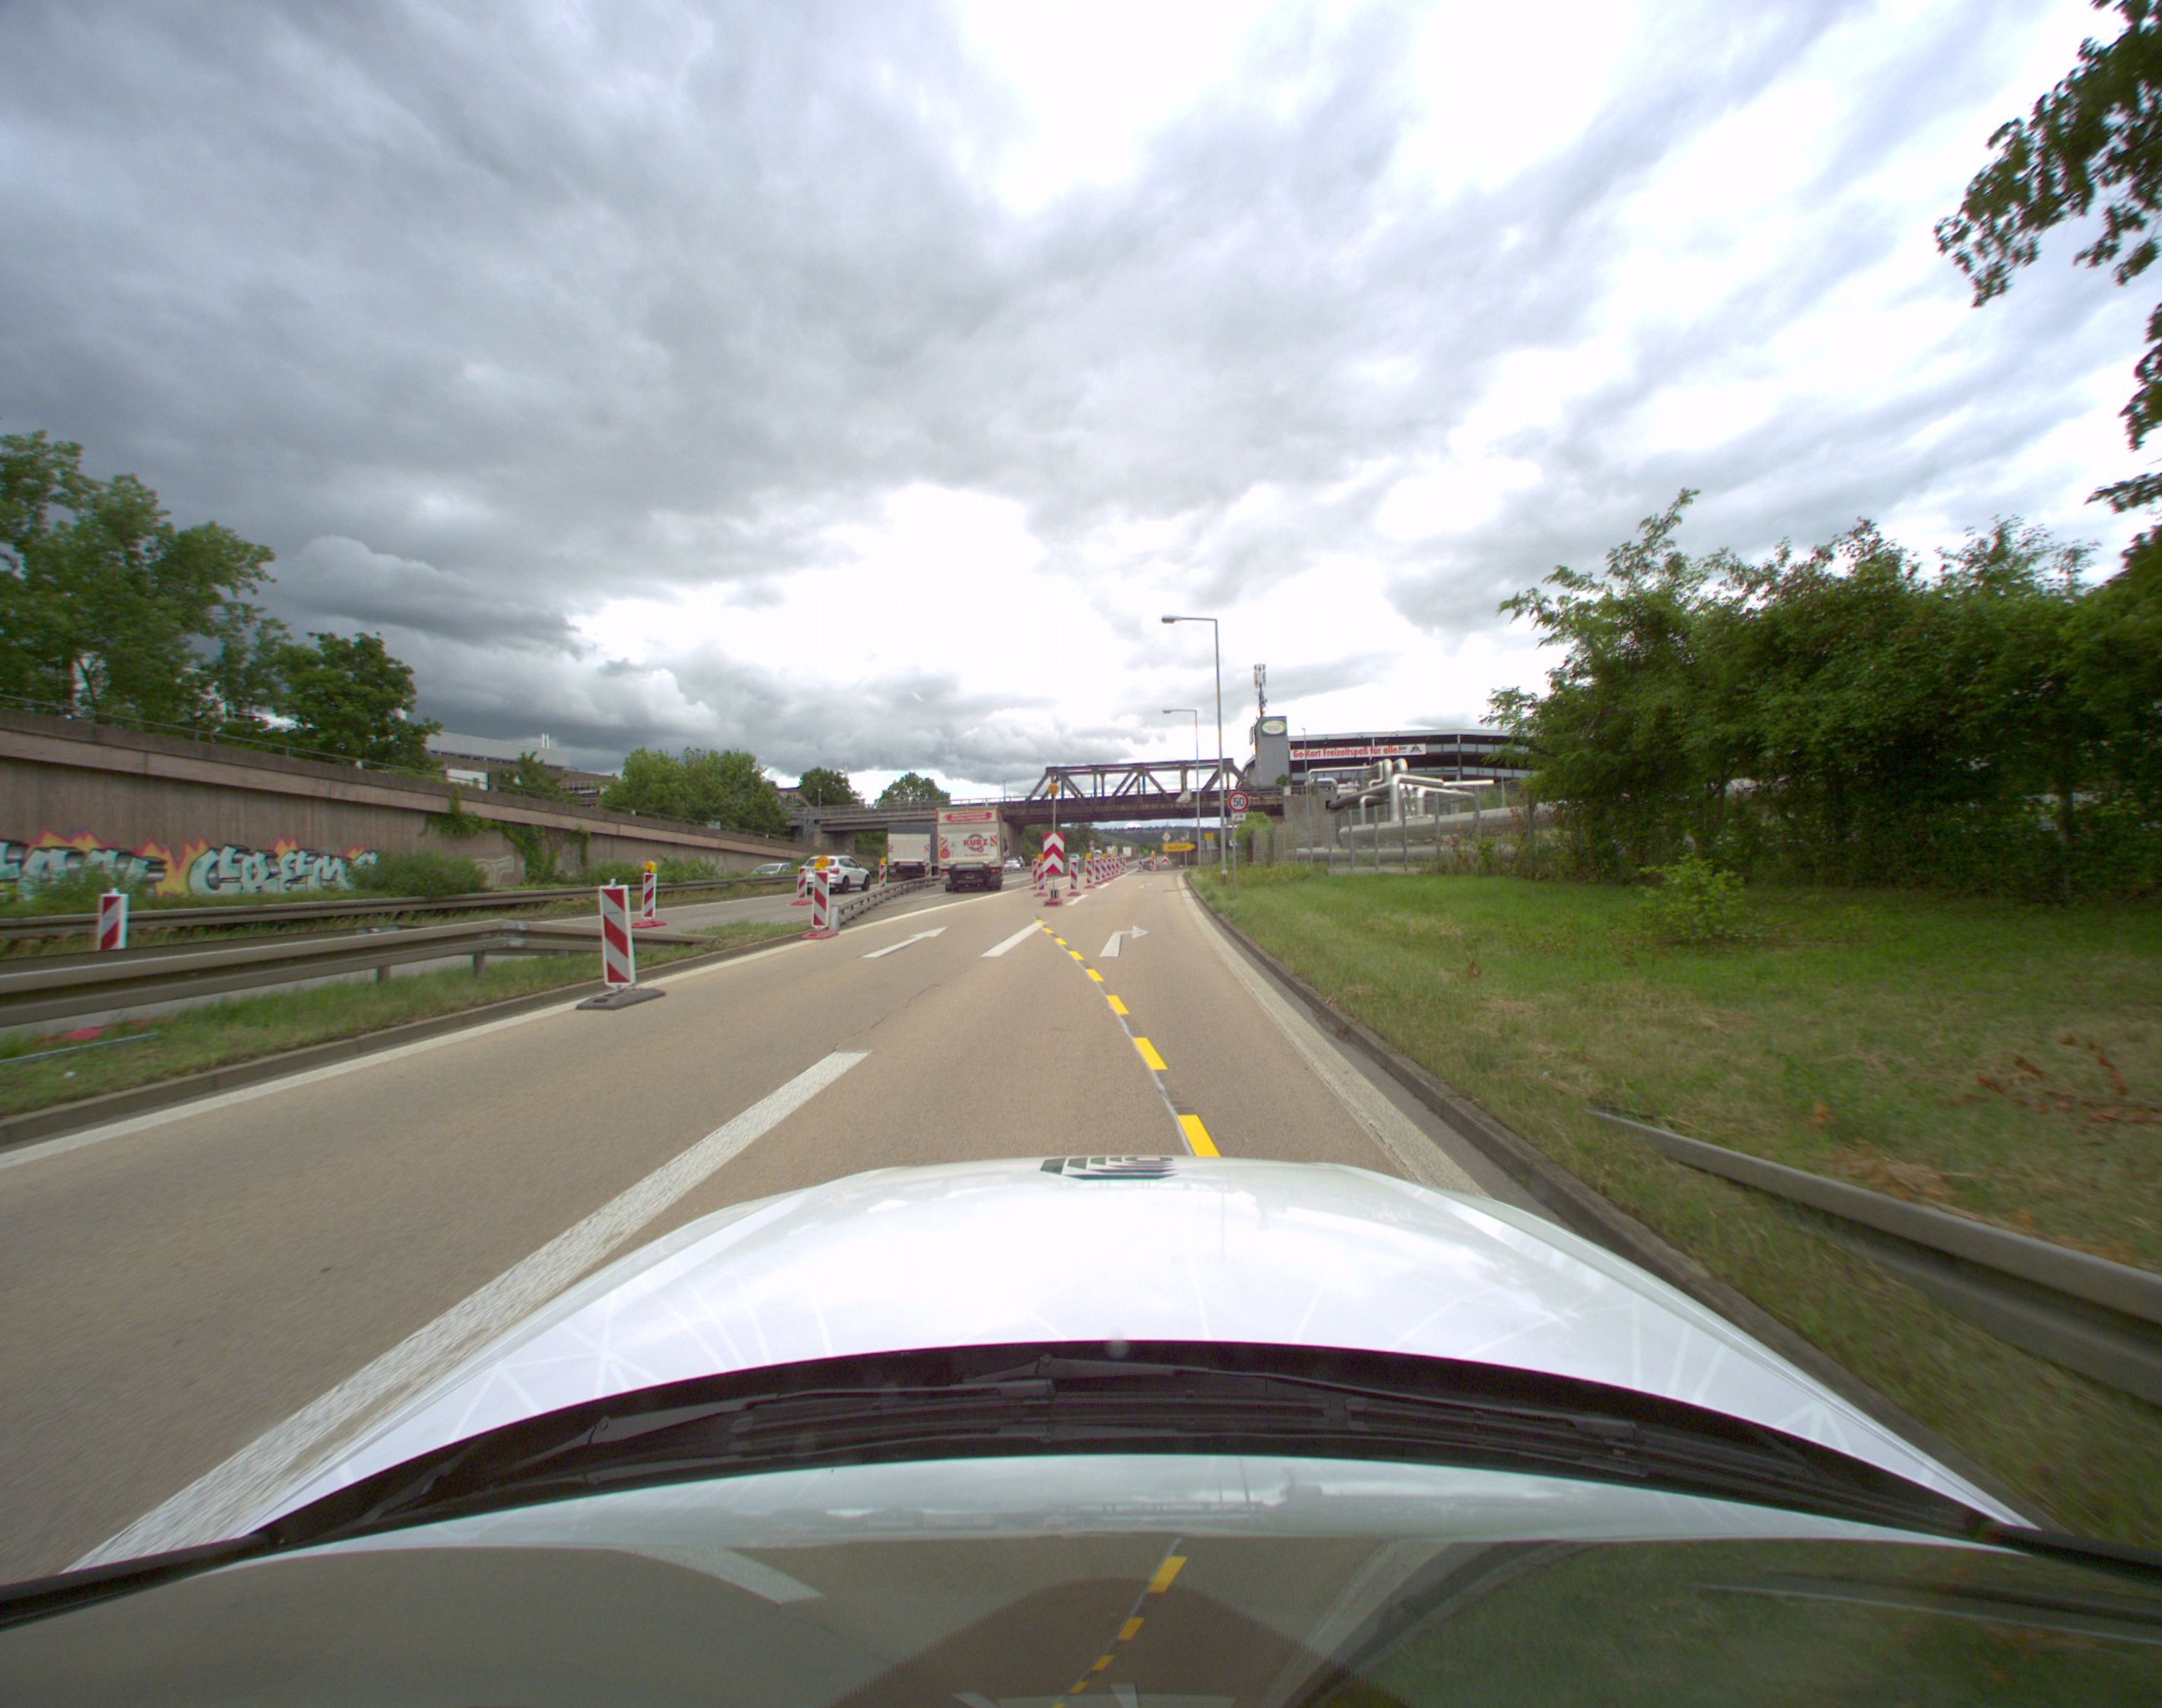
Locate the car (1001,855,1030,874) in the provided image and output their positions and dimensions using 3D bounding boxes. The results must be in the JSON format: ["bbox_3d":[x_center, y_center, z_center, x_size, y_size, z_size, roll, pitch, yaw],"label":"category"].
[{"bbox_3d":[-6.482,0.991,80.950,1.983,1.759,4.008,-2,-1,7],"label":"car"}]

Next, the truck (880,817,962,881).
[{"bbox_3d":[-9.698,-0.250,50.317,2.981,3.556,7.748,-2,-1,4],"label":"truck"}]

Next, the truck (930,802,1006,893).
[{"bbox_3d":[-5.050,-0.217,38.126,2.948,3.629,10.135,-1,-1,-5],"label":"truck"}]

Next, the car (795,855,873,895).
[{"bbox_3d":[-10.973,0.907,36.457,1.845,1.640,4.297,-1,-1,5],"label":"car"}]

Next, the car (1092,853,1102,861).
[{"bbox_3d":[3.445,0.575,171.030,1.770,1.596,3.756,-1,0,6],"label":"car"}]

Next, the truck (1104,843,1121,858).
[{"bbox_3d":[8.319,-0.928,212.390,3.701,3.645,7.742,-1,0,6],"label":"truck"}]

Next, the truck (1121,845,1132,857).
[{"bbox_3d":[12.916,-0.847,231.777,2.667,3.140,6.143,0,0,7],"label":"truck"}]

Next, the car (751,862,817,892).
[{"bbox_3d":[-16.863,1.268,46.453,1.845,1.640,4.297,-1,-1,5],"label":"car"}]

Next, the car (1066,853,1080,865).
[{"bbox_3d":[-1.309,0.793,130.416,1.986,1.816,4.002,-1,0,2],"label":"car"}]
